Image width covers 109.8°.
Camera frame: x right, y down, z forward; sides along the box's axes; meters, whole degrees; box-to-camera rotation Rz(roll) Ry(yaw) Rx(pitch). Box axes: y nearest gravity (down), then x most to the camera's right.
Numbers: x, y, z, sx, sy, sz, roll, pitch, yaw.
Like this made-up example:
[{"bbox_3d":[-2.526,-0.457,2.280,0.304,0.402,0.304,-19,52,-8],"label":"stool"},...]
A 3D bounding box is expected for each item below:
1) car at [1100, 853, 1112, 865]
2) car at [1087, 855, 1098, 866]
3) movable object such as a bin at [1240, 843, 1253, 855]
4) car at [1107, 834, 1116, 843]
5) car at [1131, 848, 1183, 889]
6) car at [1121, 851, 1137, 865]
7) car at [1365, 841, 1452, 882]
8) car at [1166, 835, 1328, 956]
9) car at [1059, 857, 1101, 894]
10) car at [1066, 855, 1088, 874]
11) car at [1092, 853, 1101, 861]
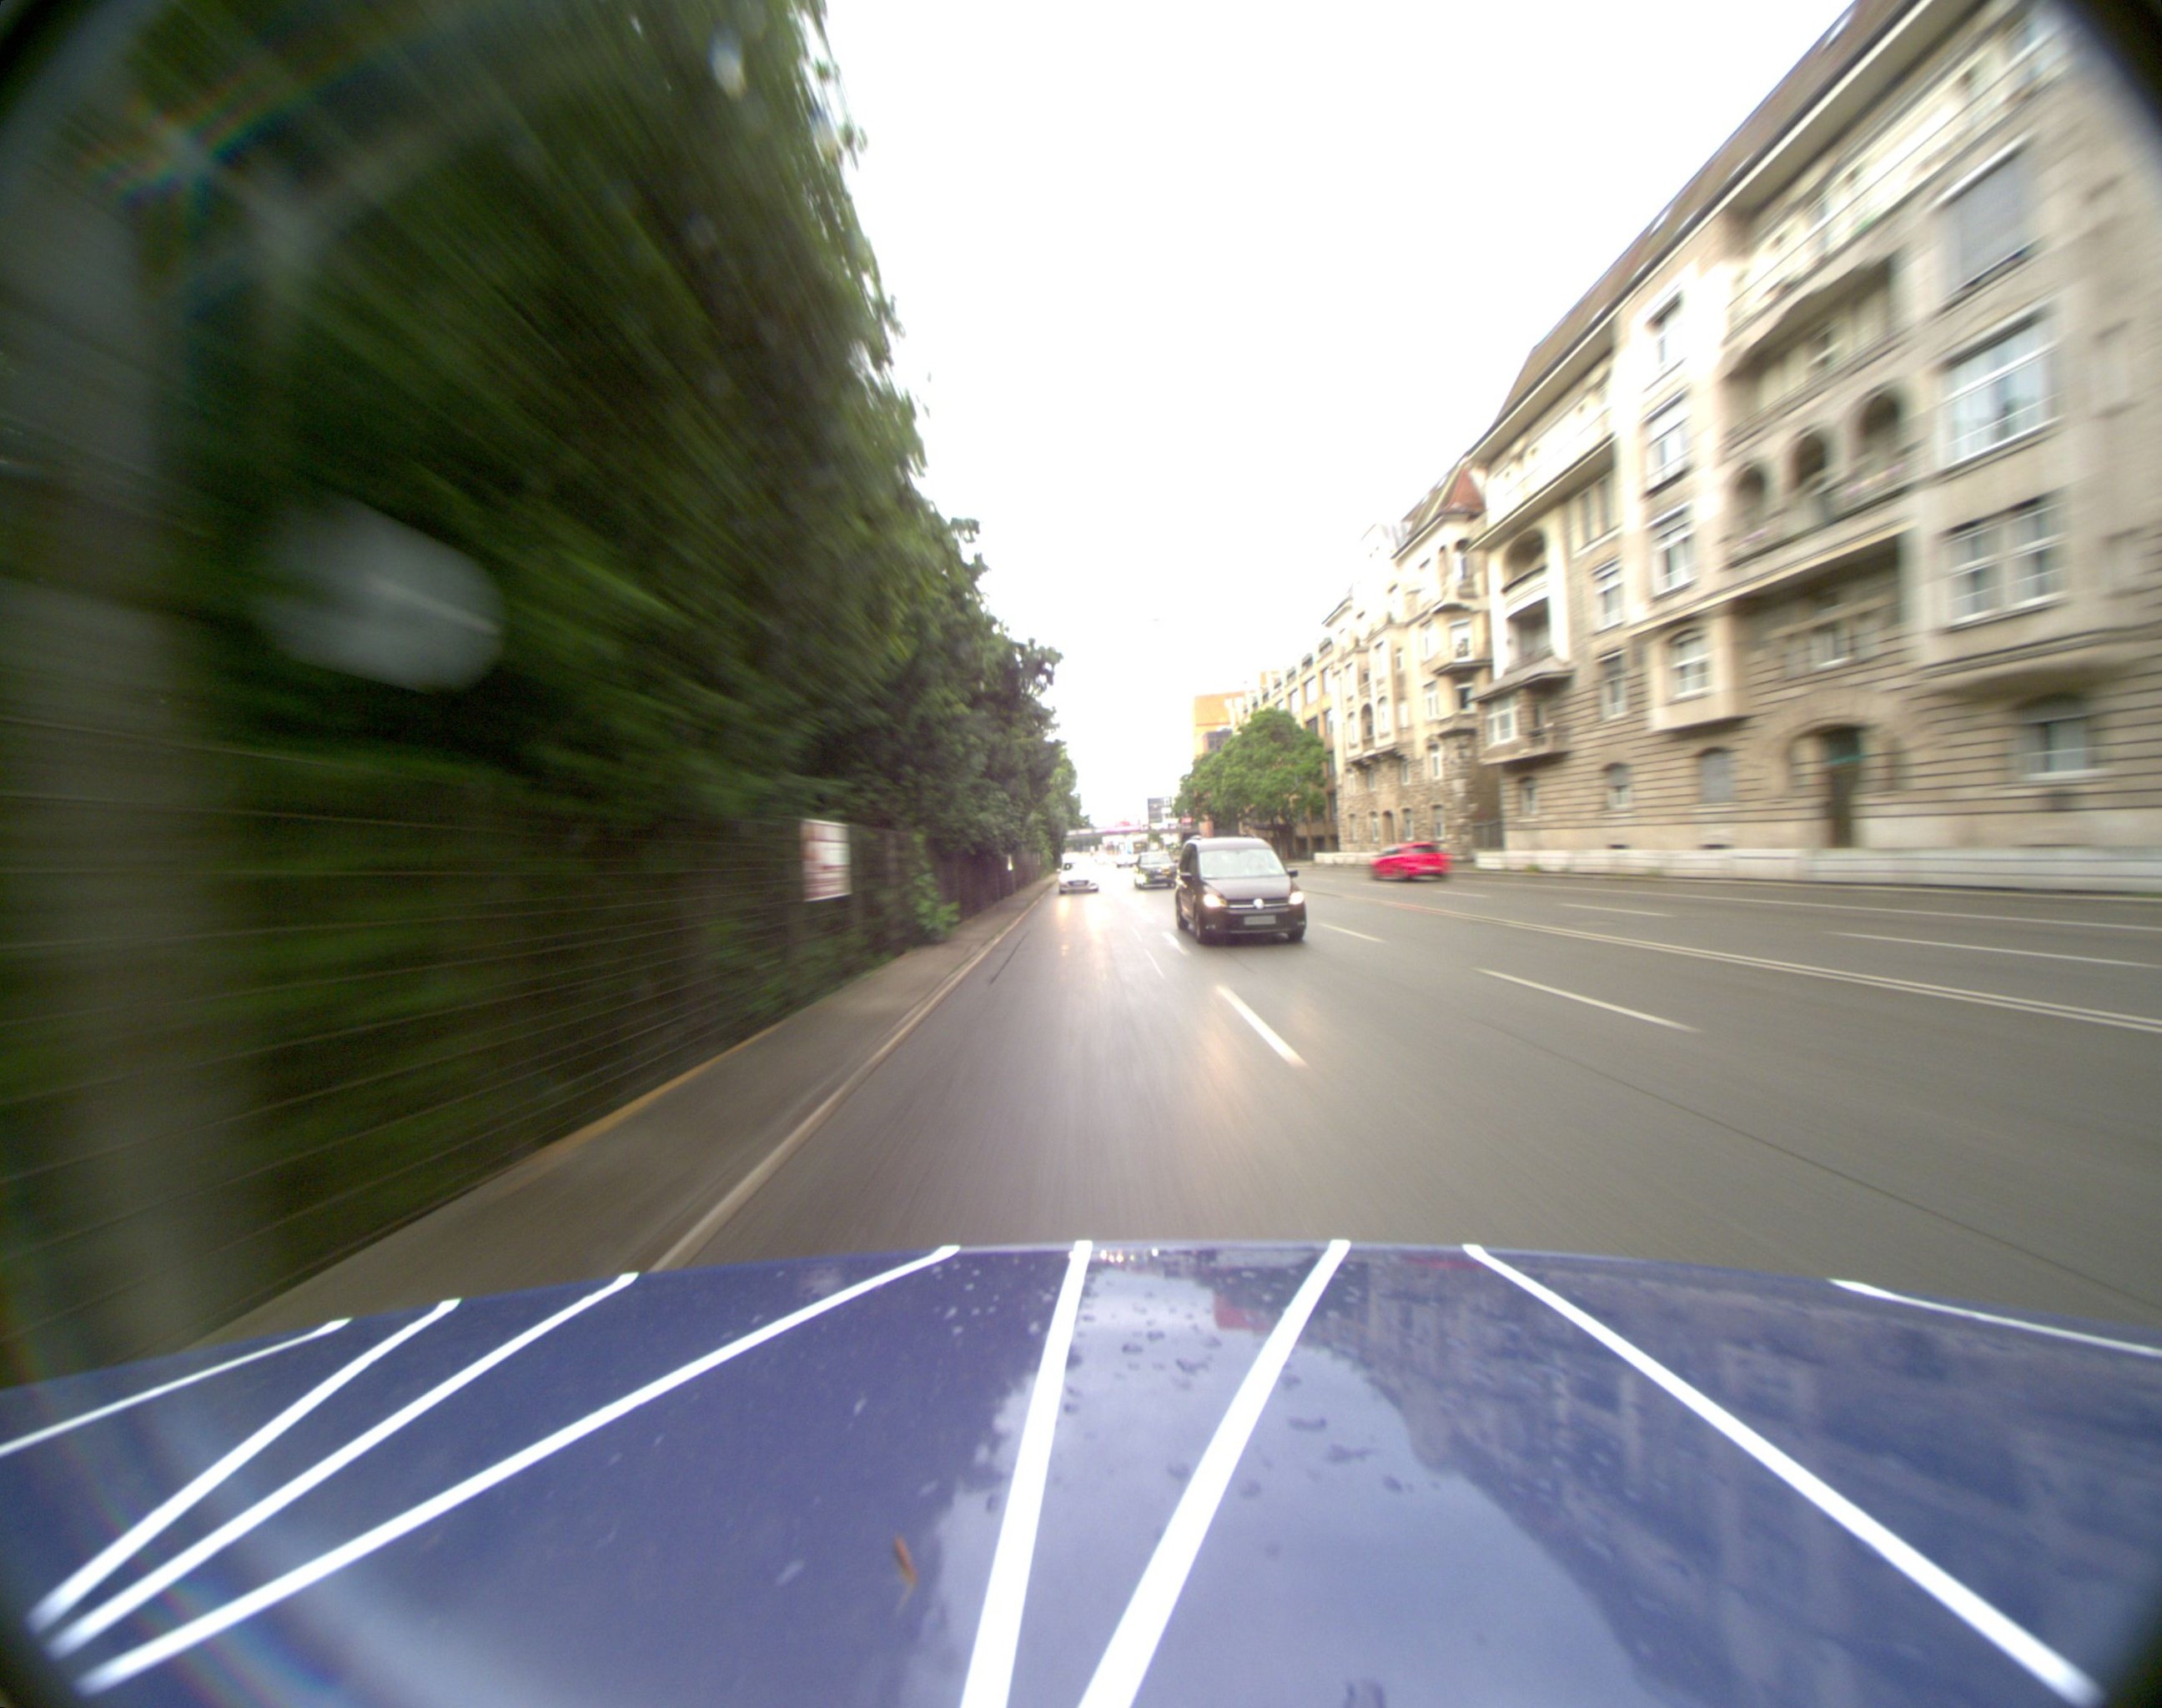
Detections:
[{"bbox_3d":[4.458,0.870,134.865,1.878,1.762,3.999,-5,1,0],"label":"car"},{"bbox_3d":[2.235,1.256,147.371,1.878,1.762,3.999,-5,1,0],"label":"car"},{"bbox_3d":[20.310,-0.591,93.453,1.071,1.428,1.372,-5,0,-5],"label":"movable object such as a bin"},{"bbox_3d":[6.337,-3.162,157.522,1.824,1.602,4.000,-5,1,2],"label":"car"},{"bbox_3d":[3.355,0.607,34.078,1.731,1.604,3.999,-4,1,-1],"label":"car"},{"bbox_3d":[5.746,0.498,91.477,1.731,1.502,3.732,-4,1,4],"label":"car"},{"bbox_3d":[12.408,0.256,29.021,1.584,1.406,3.961,-3,0,0],"label":"car"},{"bbox_3d":[2.783,0.638,13.682,1.842,1.780,3.999,-2,0,-2],"label":"car"},{"bbox_3d":[-0.083,0.920,34.704,1.731,1.431,3.999,-4,1,-1],"label":"car"},{"bbox_3d":[-0.370,0.999,73.724,1.801,1.587,3.999,-5,1,2],"label":"car"},{"bbox_3d":[3.731,0.693,180.289,1.878,1.762,3.999,-5,1,0],"label":"car"}]
